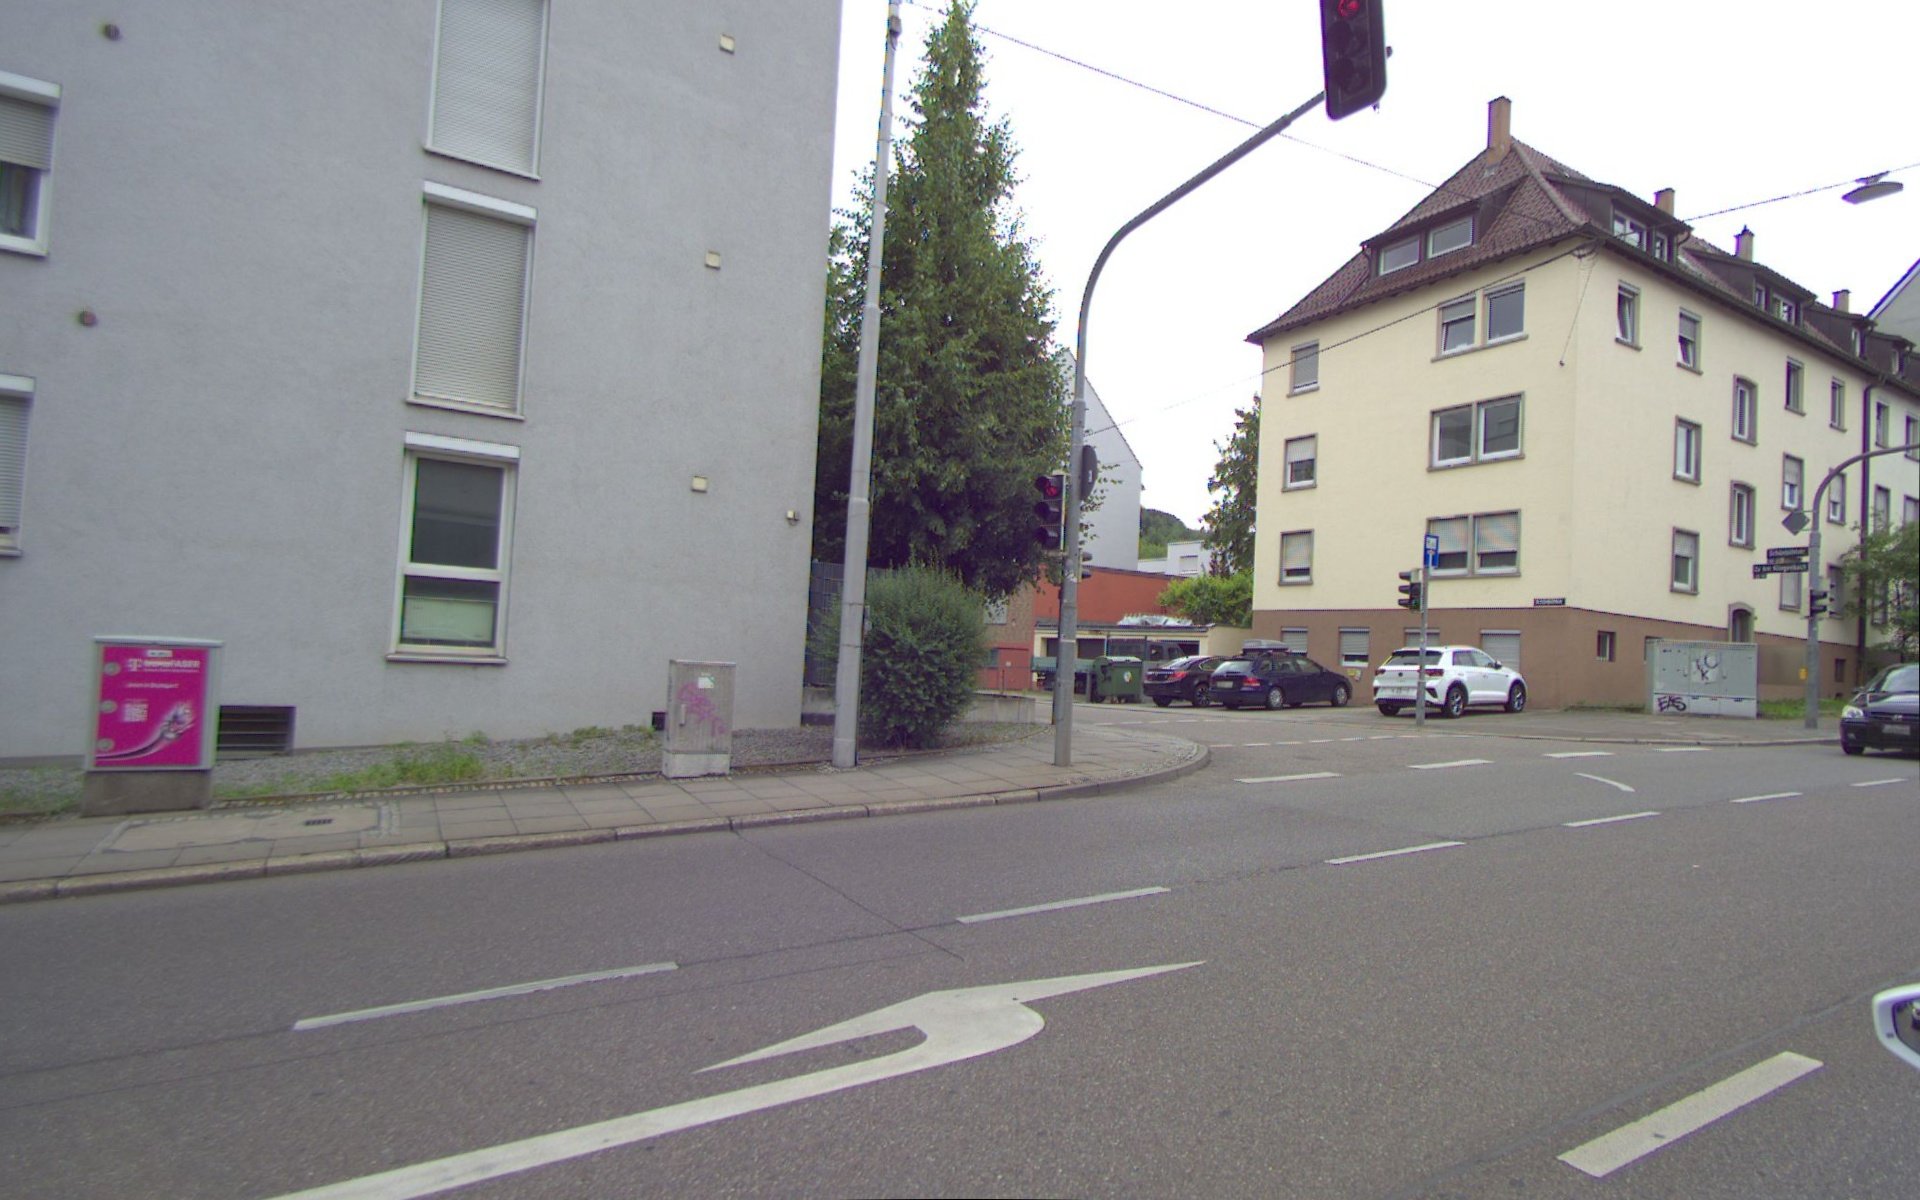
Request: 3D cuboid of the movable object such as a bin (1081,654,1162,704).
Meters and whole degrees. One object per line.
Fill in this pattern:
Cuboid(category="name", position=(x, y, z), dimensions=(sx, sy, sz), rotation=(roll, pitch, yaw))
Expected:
Cuboid(category="movable object such as a bin", position=(5.124, 2.482, 31.889), dimensions=(2.128, 1.448, 1.413), rotation=(2, 0, -30))

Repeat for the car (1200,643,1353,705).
Cuboid(category="car", position=(8.611, 1.992, 27.291), dimensions=(4.053, 1.566, 1.662), rotation=(2, -4, -30))

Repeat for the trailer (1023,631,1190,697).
Cuboid(category="trailer", position=(4.899, 2.081, 33.414), dimensions=(5.225, 1.954, 2.220), rotation=(2, 0, -29))

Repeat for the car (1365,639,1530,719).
Cuboid(category="car", position=(11.223, 1.758, 23.050), dimensions=(3.960, 1.683, 1.660), rotation=(2, -4, -35))

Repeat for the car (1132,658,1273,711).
Cuboid(category="car", position=(7.080, 2.412, 29.270), dimensions=(3.953, 1.380, 1.662), rotation=(2, -1, -30))

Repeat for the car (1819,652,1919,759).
Cuboid(category="car", position=(15.297, 1.590, 15.678), dimensions=(3.695, 1.538, 1.657), rotation=(2, -5, -30))
